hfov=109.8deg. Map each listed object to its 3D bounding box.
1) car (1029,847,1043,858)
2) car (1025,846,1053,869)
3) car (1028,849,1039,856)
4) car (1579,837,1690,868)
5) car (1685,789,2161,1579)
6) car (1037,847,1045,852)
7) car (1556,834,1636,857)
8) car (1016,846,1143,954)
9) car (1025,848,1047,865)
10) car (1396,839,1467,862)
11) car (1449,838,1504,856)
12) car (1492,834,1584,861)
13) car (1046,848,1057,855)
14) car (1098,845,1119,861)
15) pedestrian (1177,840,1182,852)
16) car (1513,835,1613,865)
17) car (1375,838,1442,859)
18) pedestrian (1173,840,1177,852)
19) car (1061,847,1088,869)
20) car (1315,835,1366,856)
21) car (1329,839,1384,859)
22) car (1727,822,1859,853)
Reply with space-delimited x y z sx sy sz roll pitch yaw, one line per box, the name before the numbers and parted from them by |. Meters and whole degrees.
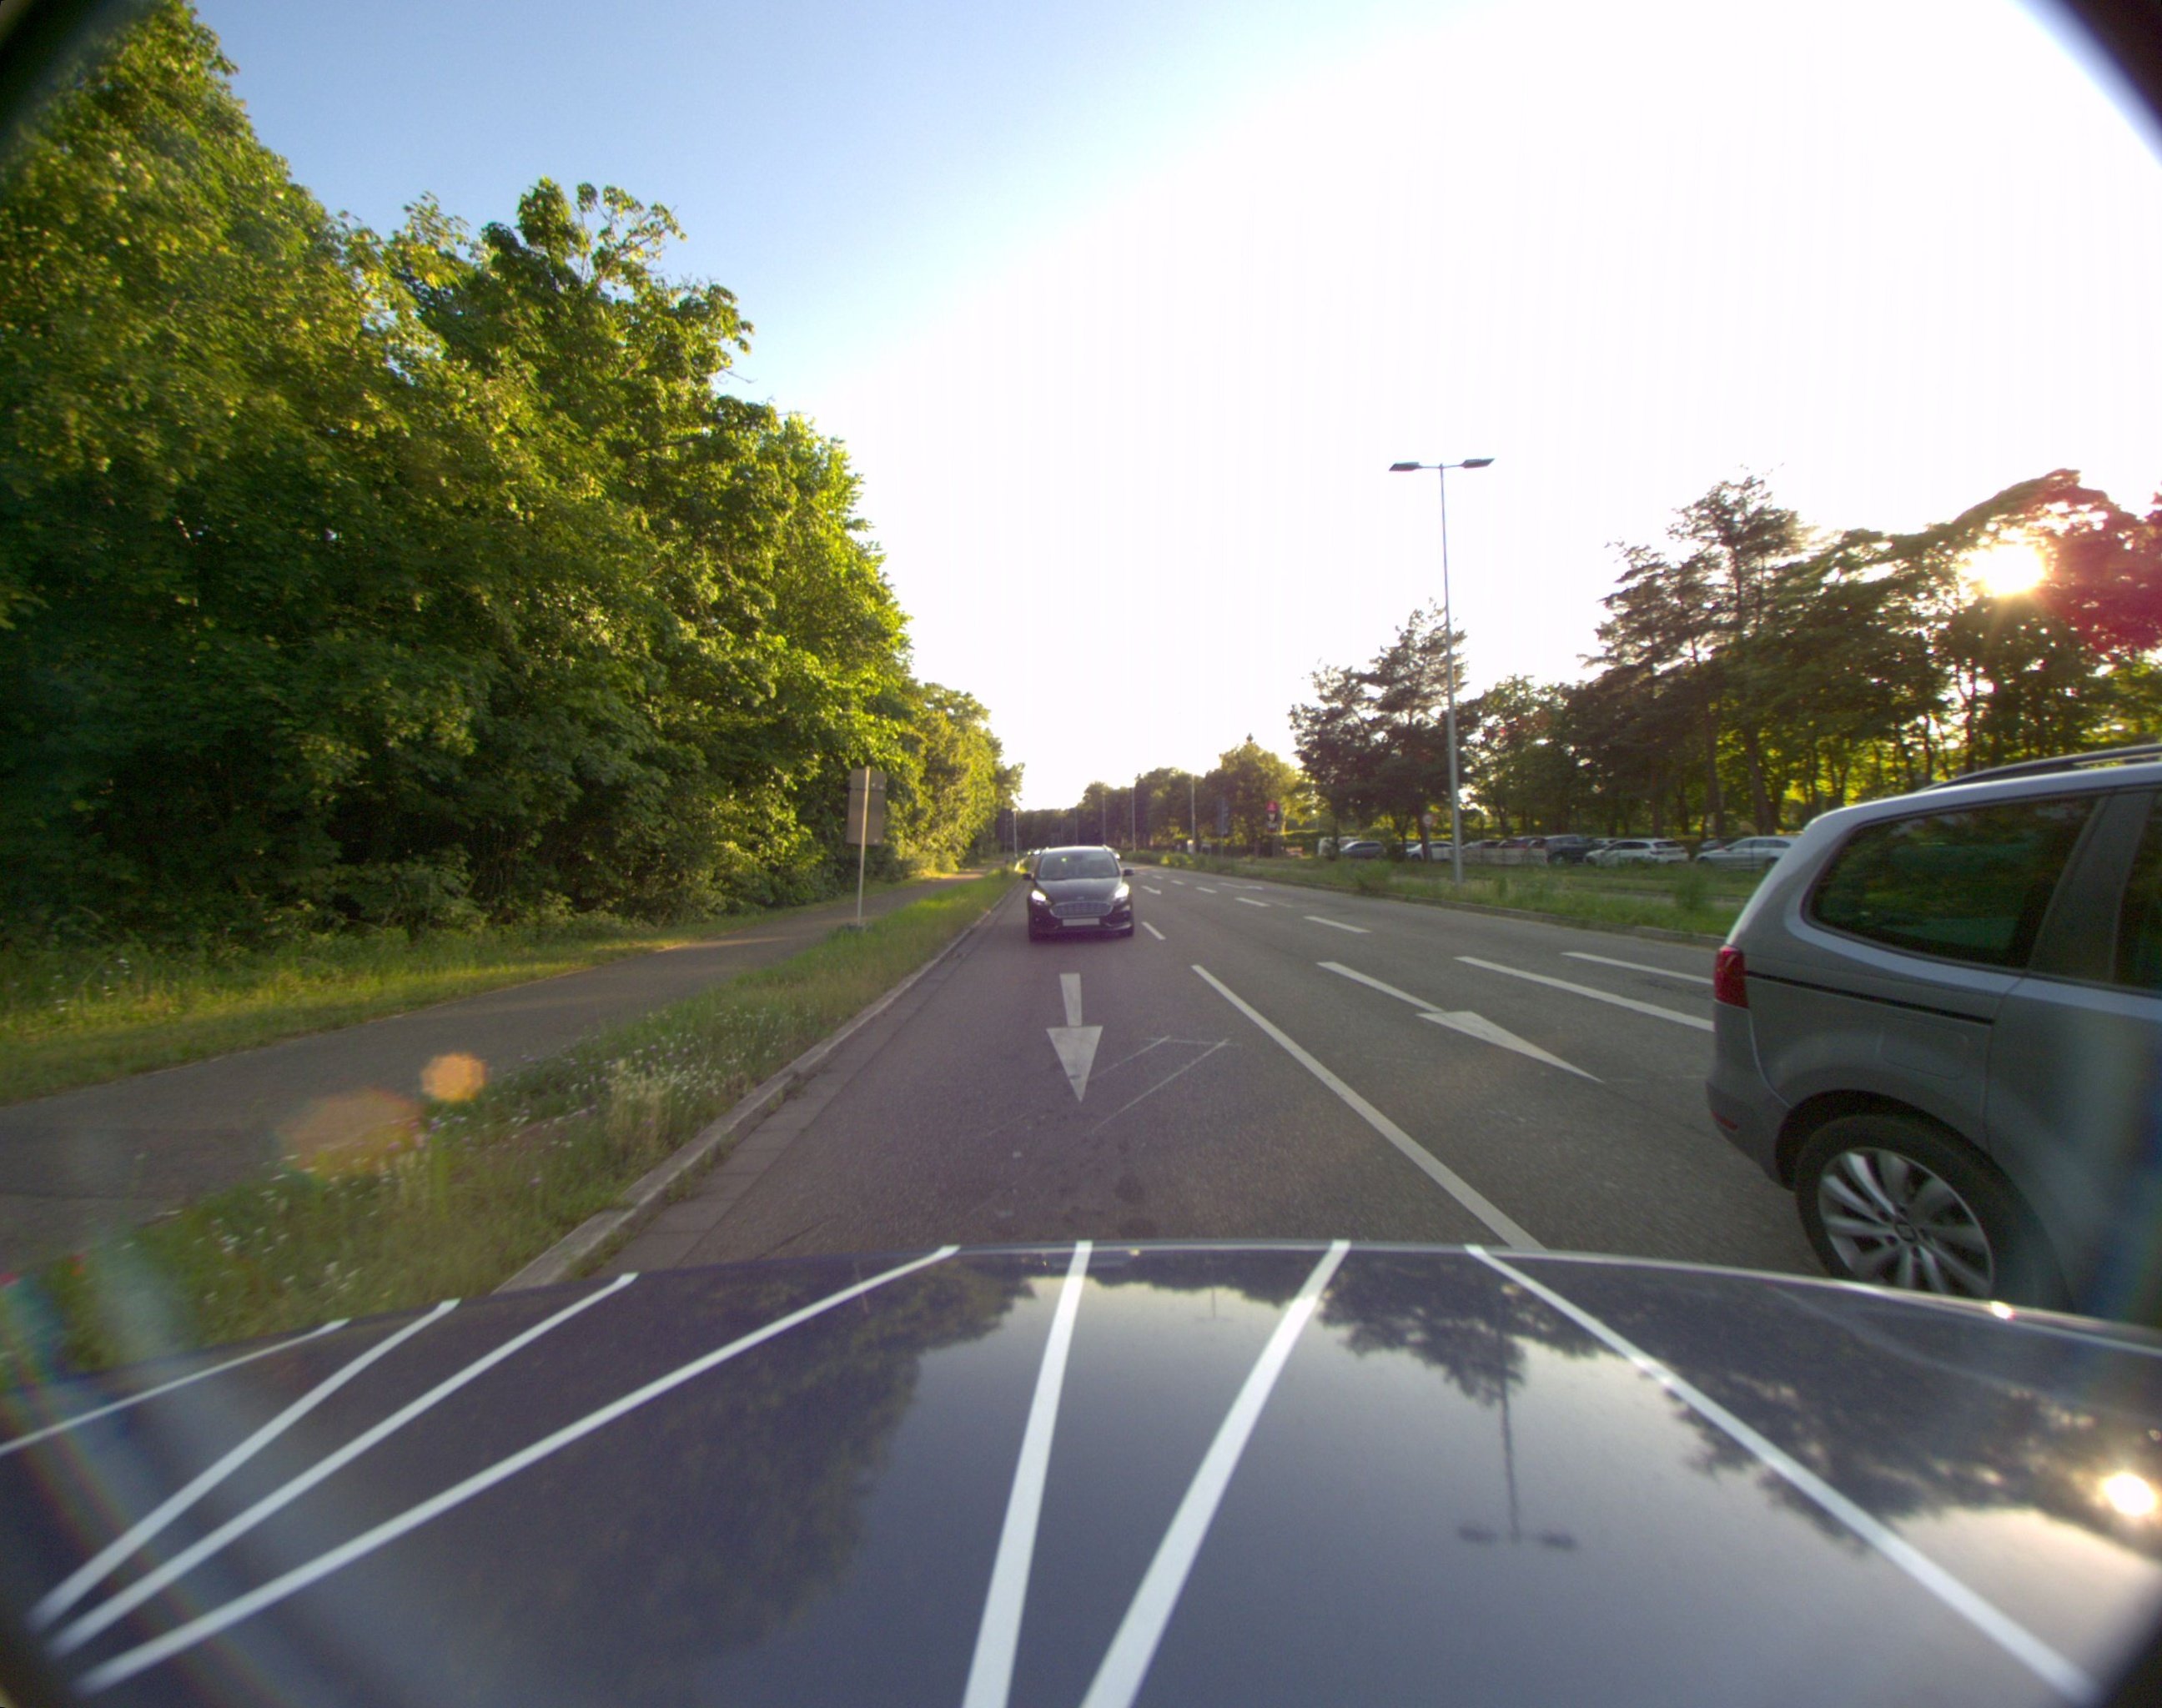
car | -7.444 -0.277 126.340 1.999 1.615 4.395 -2 1 -1
car | -3.214 0.221 59.046 1.999 1.615 4.395 -2 1 -1
car | -10.760 -0.313 172.026 1.872 1.397 4.071 -3 1 -12
car | 25.957 -0.096 35.856 1.679 1.317 4.496 -1 1 -5
car | 3.281 0.705 0.586 1.871 1.714 4.659 -1 1 -1
car | -10.365 -1.085 197.691 1.746 1.281 3.741 -1 1 -10
car | 33.057 -0.535 48.944 1.865 1.399 4.545 -1 1 -5
car | -0.102 0.760 14.983 2.011 1.651 4.820 -3 0 -2
car | -4.547 0.223 77.251 1.999 1.615 4.395 -2 1 -1
car | 24.574 -0.250 53.333 4.169 1.470 1.783 -1 1 -4
car | 32.156 -0.605 61.895 1.865 1.399 4.545 -1 1 -5
car | 25.730 -0.383 42.859 3.998 1.445 1.999 -1 1 -3
car | -6.185 -0.537 159.705 1.872 1.397 4.072 -3 1 -9
car | 2.737 -0.127 76.183 1.871 1.397 4.075 -3 1 -1
pedestrian | 14.736 -1.266 113.390 0.567 1.764 0.676 -2 1 0
car | 24.897 -0.213 39.348 4.047 1.470 1.762 -1 1 0
car | 24.203 -0.439 56.229 4.169 1.470 1.783 -1 1 -4
pedestrian | 14.020 -1.222 113.383 0.567 1.736 0.676 -2 1 0
car | -0.557 0.280 61.574 1.999 1.615 4.395 -2 1 -1
car | 23.237 -0.750 68.090 3.997 1.854 1.825 -1 1 -1
car | 23.551 -0.469 65.009 3.997 1.628 1.825 -1 1 -1
car | 33.851 -0.766 36.325 1.865 1.399 4.545 -1 1 -5
